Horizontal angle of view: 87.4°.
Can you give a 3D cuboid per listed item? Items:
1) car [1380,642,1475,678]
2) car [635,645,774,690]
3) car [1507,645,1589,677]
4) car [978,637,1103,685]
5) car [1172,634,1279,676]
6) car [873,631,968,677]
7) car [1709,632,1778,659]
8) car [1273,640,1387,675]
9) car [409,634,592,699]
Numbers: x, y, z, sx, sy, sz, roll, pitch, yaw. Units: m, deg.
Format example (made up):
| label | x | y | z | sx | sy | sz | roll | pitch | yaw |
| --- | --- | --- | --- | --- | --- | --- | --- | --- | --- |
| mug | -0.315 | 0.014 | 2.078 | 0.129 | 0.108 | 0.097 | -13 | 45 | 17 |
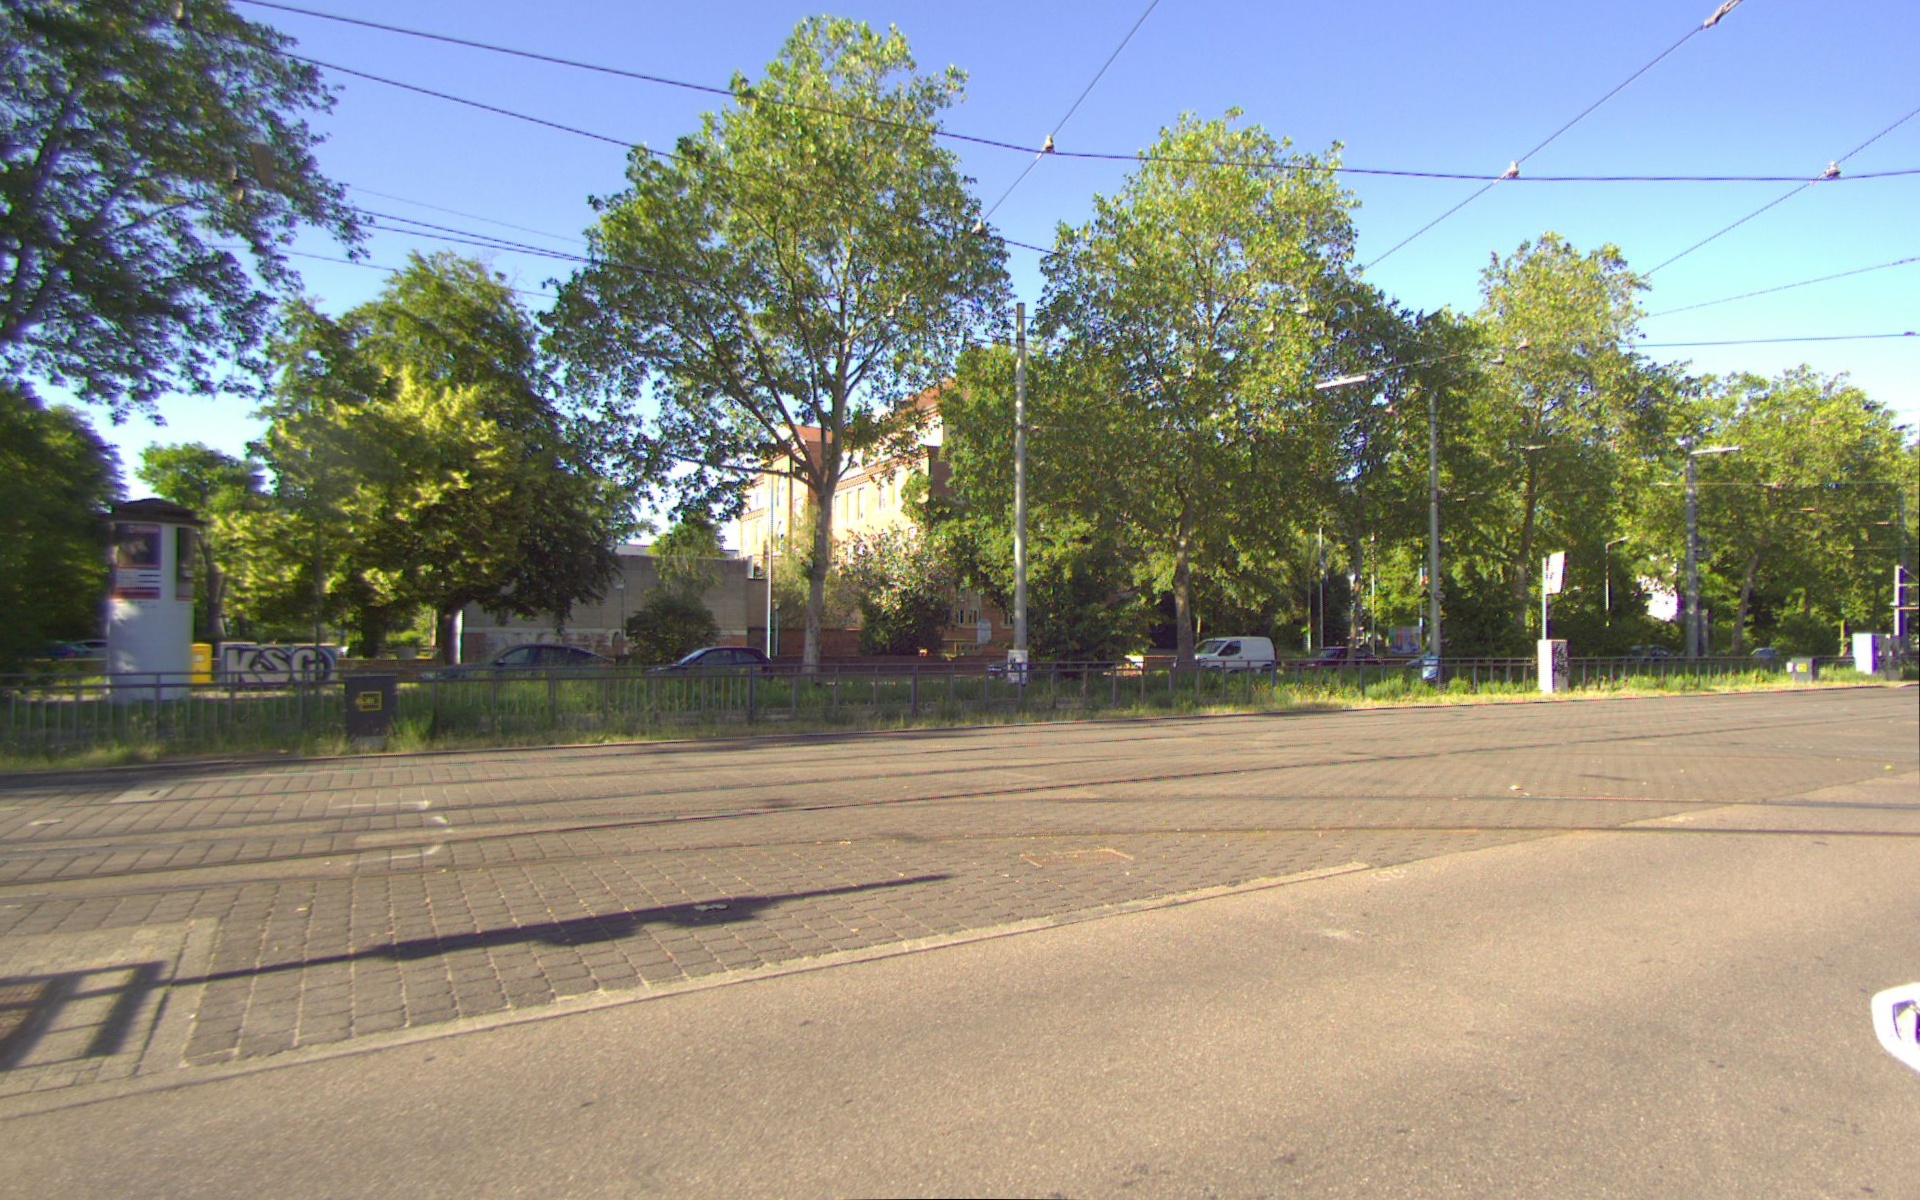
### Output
| label | x | y | z | sx | sy | sz | roll | pitch | yaw |
| --- | --- | --- | --- | --- | --- | --- | --- | --- | --- |
| car | 21.474 | 2.765 | 46.098 | 4.230 | 1.529 | 1.926 | 3 | -2 | -31 |
| car | -7.185 | 1.872 | 28.352 | 3.532 | 1.155 | 1.498 | 1 | -2 | -31 |
| car | 30.598 | 3.181 | 52.261 | 4.230 | 1.529 | 1.926 | 3 | -2 | -31 |
| car | 2.788 | 2.058 | 34.493 | 4.097 | 1.529 | 1.661 | 1 | -2 | -31 |
| car | 10.353 | 2.119 | 39.099 | 4.097 | 1.529 | 1.661 | 2 | -2 | -31 |
| car | -1.811 | 2.468 | 46.461 | 3.952 | 2.040 | 1.985 | 1 | -2 | -30 |
| car | 49.656 | 2.885 | 63.639 | 4.794 | 1.529 | 1.926 | 3 | -2 | -31 |
| car | 15.498 | 2.411 | 42.008 | 4.794 | 1.366 | 1.926 | 3 | -2 | -31 |
| car | -11.668 | 1.631 | 25.586 | 4.097 | 1.529 | 1.661 | 1 | -2 | -31 |
